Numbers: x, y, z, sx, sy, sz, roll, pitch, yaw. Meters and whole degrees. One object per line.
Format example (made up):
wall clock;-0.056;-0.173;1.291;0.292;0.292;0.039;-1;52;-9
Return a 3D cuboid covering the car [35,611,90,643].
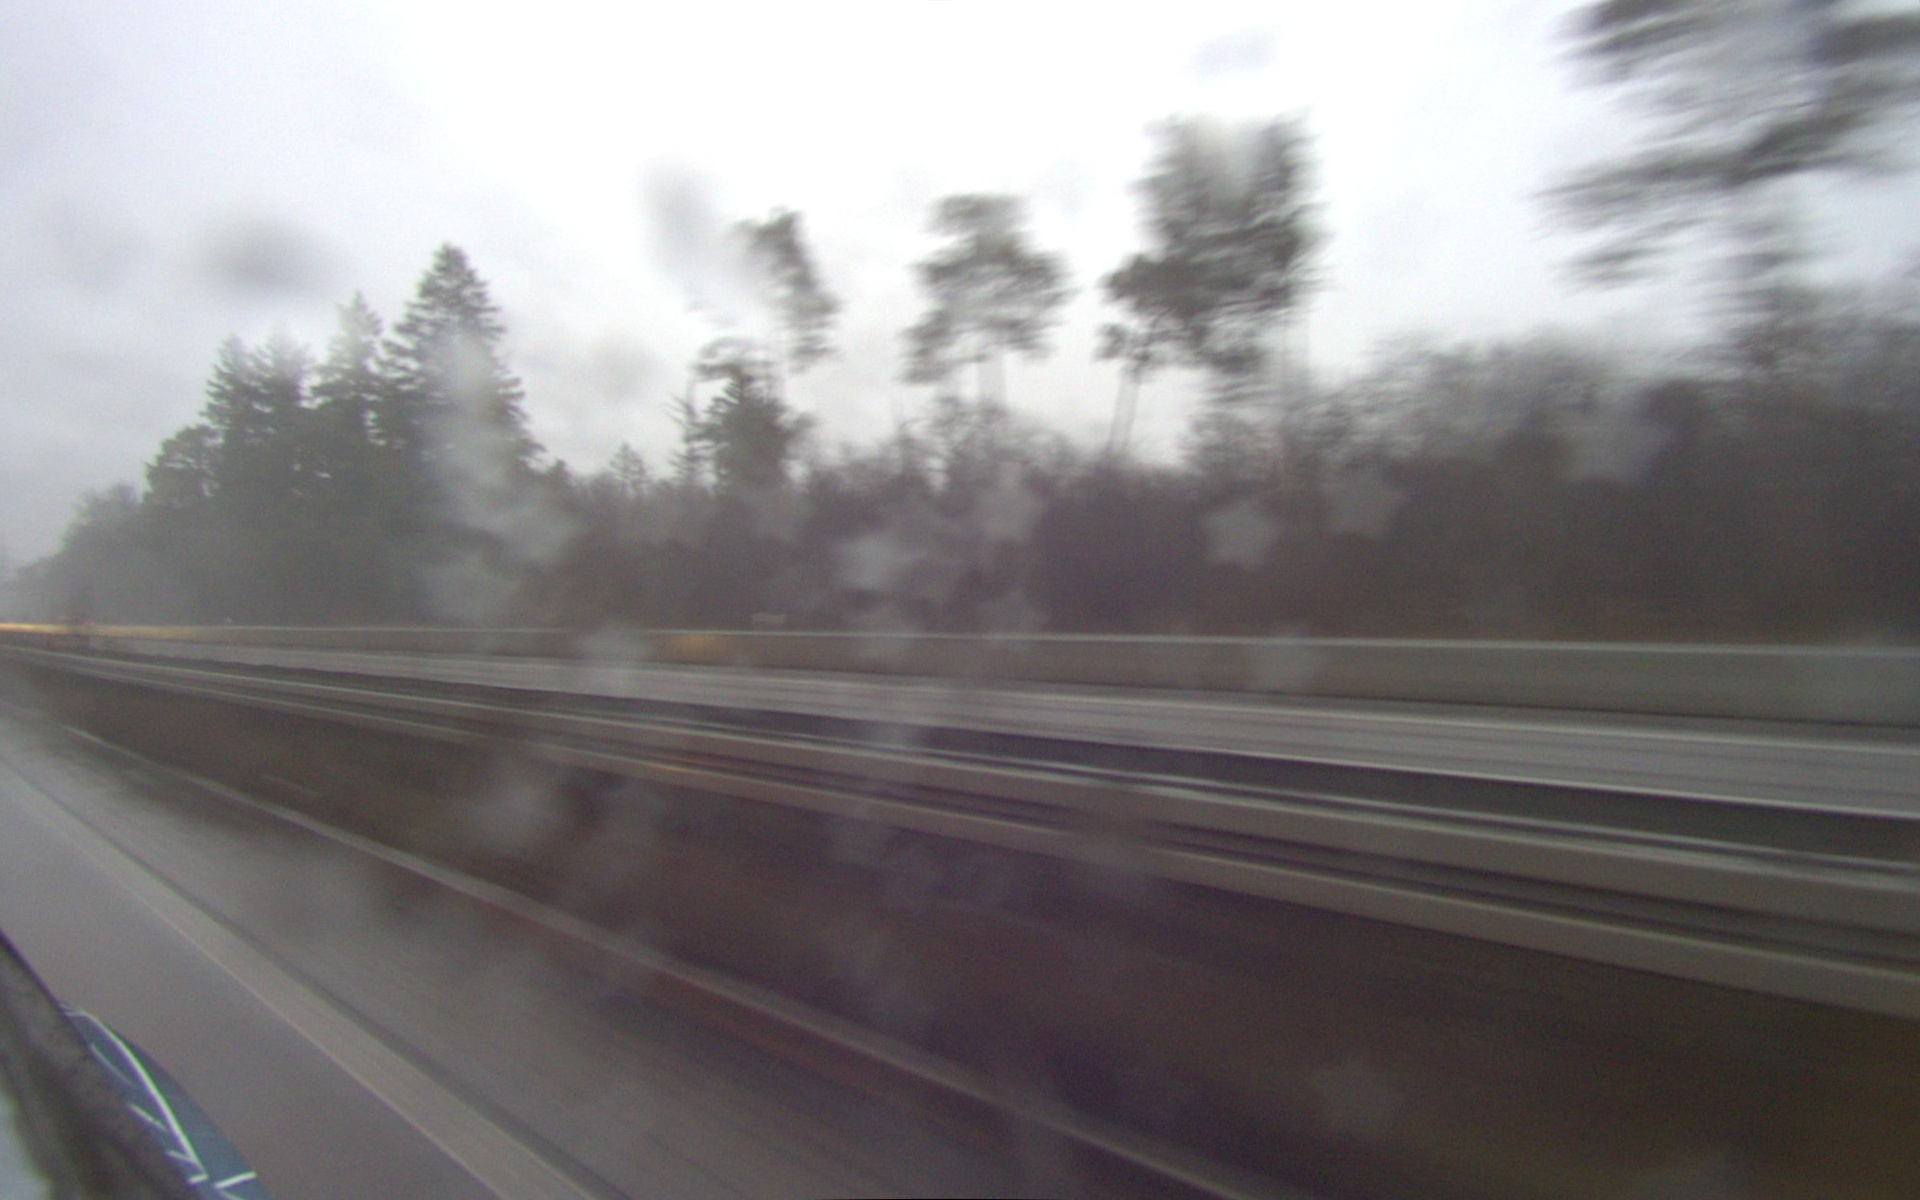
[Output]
car;-58.833;1.749;66.321;4.780;2.029;1.974;-1;-1;39
